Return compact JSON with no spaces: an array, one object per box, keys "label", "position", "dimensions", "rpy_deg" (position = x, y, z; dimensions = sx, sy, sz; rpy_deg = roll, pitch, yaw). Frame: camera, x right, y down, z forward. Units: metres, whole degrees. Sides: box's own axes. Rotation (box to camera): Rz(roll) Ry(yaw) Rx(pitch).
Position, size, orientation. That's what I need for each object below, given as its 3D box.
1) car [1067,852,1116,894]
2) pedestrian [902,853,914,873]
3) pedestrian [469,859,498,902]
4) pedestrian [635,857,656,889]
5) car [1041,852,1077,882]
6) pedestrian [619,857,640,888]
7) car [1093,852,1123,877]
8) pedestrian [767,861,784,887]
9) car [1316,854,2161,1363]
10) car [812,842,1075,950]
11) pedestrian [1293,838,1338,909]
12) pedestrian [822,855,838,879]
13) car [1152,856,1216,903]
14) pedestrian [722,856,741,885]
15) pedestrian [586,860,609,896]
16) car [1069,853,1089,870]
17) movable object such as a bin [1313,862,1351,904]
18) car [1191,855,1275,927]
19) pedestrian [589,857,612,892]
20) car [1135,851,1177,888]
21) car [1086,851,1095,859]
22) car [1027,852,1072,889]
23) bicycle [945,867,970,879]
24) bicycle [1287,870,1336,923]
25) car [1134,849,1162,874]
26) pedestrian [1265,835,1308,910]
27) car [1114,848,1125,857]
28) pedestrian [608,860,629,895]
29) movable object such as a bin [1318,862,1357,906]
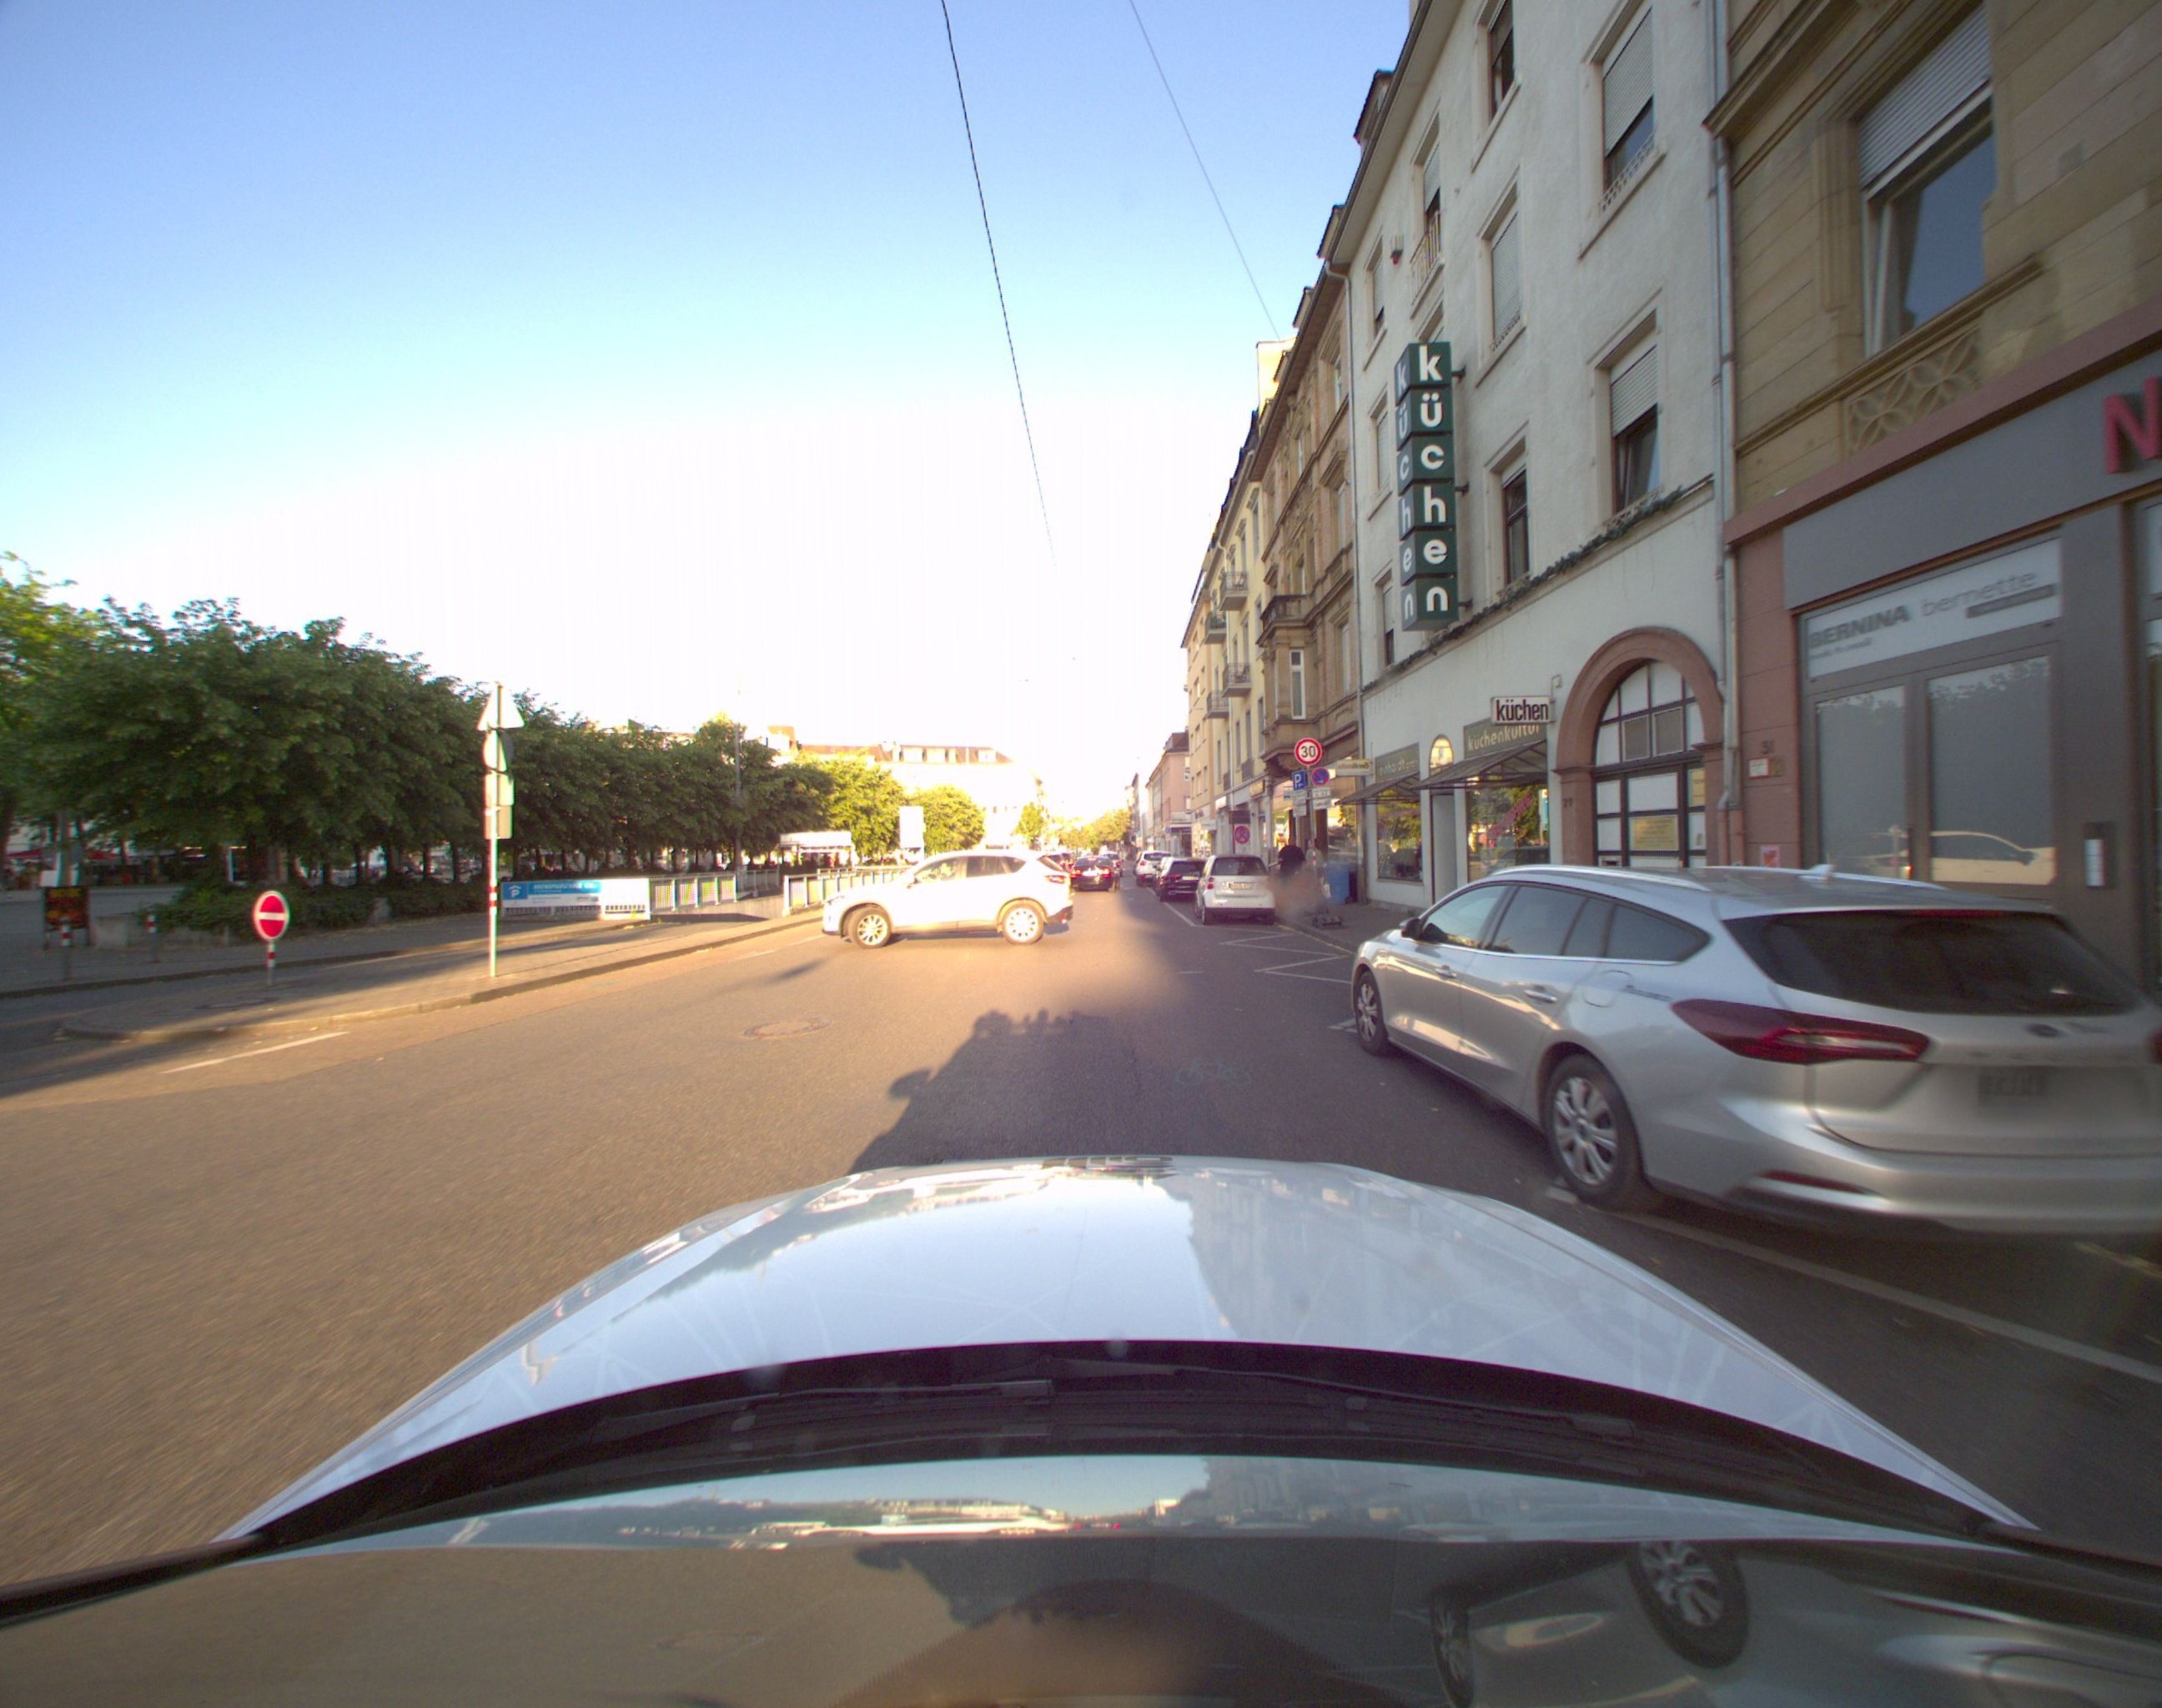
[{"label":"car","position":[0.438,0.739,33.508],"dimensions":[1.890,1.581,4.001],"rpy_deg":[1,0,1]},{"label":"pedestrian","position":[-13.866,0.739,65.302],"dimensions":[0.783,1.595,0.571],"rpy_deg":[0,0,20]},{"label":"pedestrian","position":[-22.728,0.992,30.979],"dimensions":[0.703,1.595,0.673],"rpy_deg":[0,0,-17]},{"label":"pedestrian","position":[-22.124,0.969,41.383],"dimensions":[0.783,1.595,0.571],"rpy_deg":[0,0,20]},{"label":"car","position":[-1.215,0.700,47.135],"dimensions":[1.890,1.649,4.105],"rpy_deg":[-1,0,1]},{"label":"pedestrian","position":[-23.086,0.943,41.635],"dimensions":[0.783,1.595,0.571],"rpy_deg":[0,0,20]},{"label":"car","position":[1.762,0.661,53.463],"dimensions":[1.890,1.581,4.001],"rpy_deg":[1,0,1]},{"label":"pedestrian","position":[-18.325,1.197,48.907],"dimensions":[0.672,1.595,0.680],"rpy_deg":[0,0,21]},{"label":"car","position":[3.010,0.801,4.902],"dimensions":[1.753,1.536,4.820],"rpy_deg":[1,0,-1]},{"label":"car","position":[-2.369,0.725,15.007],"dimensions":[4.437,1.761,2.000],"rpy_deg":[-1,0,0]},{"label":"pedestrian","position":[5.895,0.475,20.540],"dimensions":[0.770,1.711,1.042],"rpy_deg":[-3,0,1]},{"label":"pedestrian","position":[-16.850,0.838,54.649],"dimensions":[0.783,1.595,0.571],"rpy_deg":[0,0,20]},{"label":"car","position":[3.425,0.806,27.814],"dimensions":[1.723,1.448,4.526],"rpy_deg":[1,0,2]},{"label":"pedestrian","position":[-19.376,0.912,45.096],"dimensions":[0.672,1.595,0.680],"rpy_deg":[0,0,21]},{"label":"pedestrian","position":[-21.944,1.093,36.968],"dimensions":[0.672,1.595,0.571],"rpy_deg":[0,0,20]},{"label":"car","position":[-0.158,0.686,76.634],"dimensions":[1.773,1.547,4.000],"rpy_deg":[-1,0,1]},{"label":"movable object such as a bin","position":[6.690,0.765,21.707],"dimensions":[0.772,1.070,0.618],"rpy_deg":[-3,0,1]},{"label":"car","position":[3.500,0.806,19.194],"dimensions":[1.526,1.536,3.285],"rpy_deg":[0,-1,3]},{"label":"pedestrian","position":[-22.718,0.958,38.505],"dimensions":[0.783,1.595,0.571],"rpy_deg":[0,0,20]},{"label":"car","position":[3.520,0.710,38.903],"dimensions":[1.723,1.651,4.286],"rpy_deg":[1,0,2]},{"label":"car","position":[1.819,0.241,161.484],"dimensions":[1.773,1.547,4.000],"rpy_deg":[-1,0,1]},{"label":"car","position":[-1.438,0.754,38.579],"dimensions":[1.890,1.649,4.105],"rpy_deg":[-1,0,1]},{"label":"bicycle","position":[-9.382,1.432,61.823],"dimensions":[1.821,0.853,0.483],"rpy_deg":[2,0,-3]},{"label":"bicycle","position":[4.933,0.888,17.518],"dimensions":[0.502,1.016,1.947],"rpy_deg":[-1,0,1]},{"label":"car","position":[4.583,0.530,56.385],"dimensions":[1.723,1.652,3.972],"rpy_deg":[1,0,2]},{"label":"pedestrian","position":[5.204,0.455,20.641],"dimensions":[0.770,1.827,1.011],"rpy_deg":[-3,0,1]},{"label":"car","position":[7.473,-0.343,157.579],"dimensions":[1.890,1.581,3.852],"rpy_deg":[-1,0,1]},{"label":"pedestrian","position":[-21.697,1.097,38.223],"dimensions":[0.672,1.595,0.571],"rpy_deg":[0,0,20]},{"label":"movable object such as a bin","position":[6.608,0.759,21.038],"dimensions":[0.772,1.070,0.618],"rpy_deg":[-3,0,1]}]
